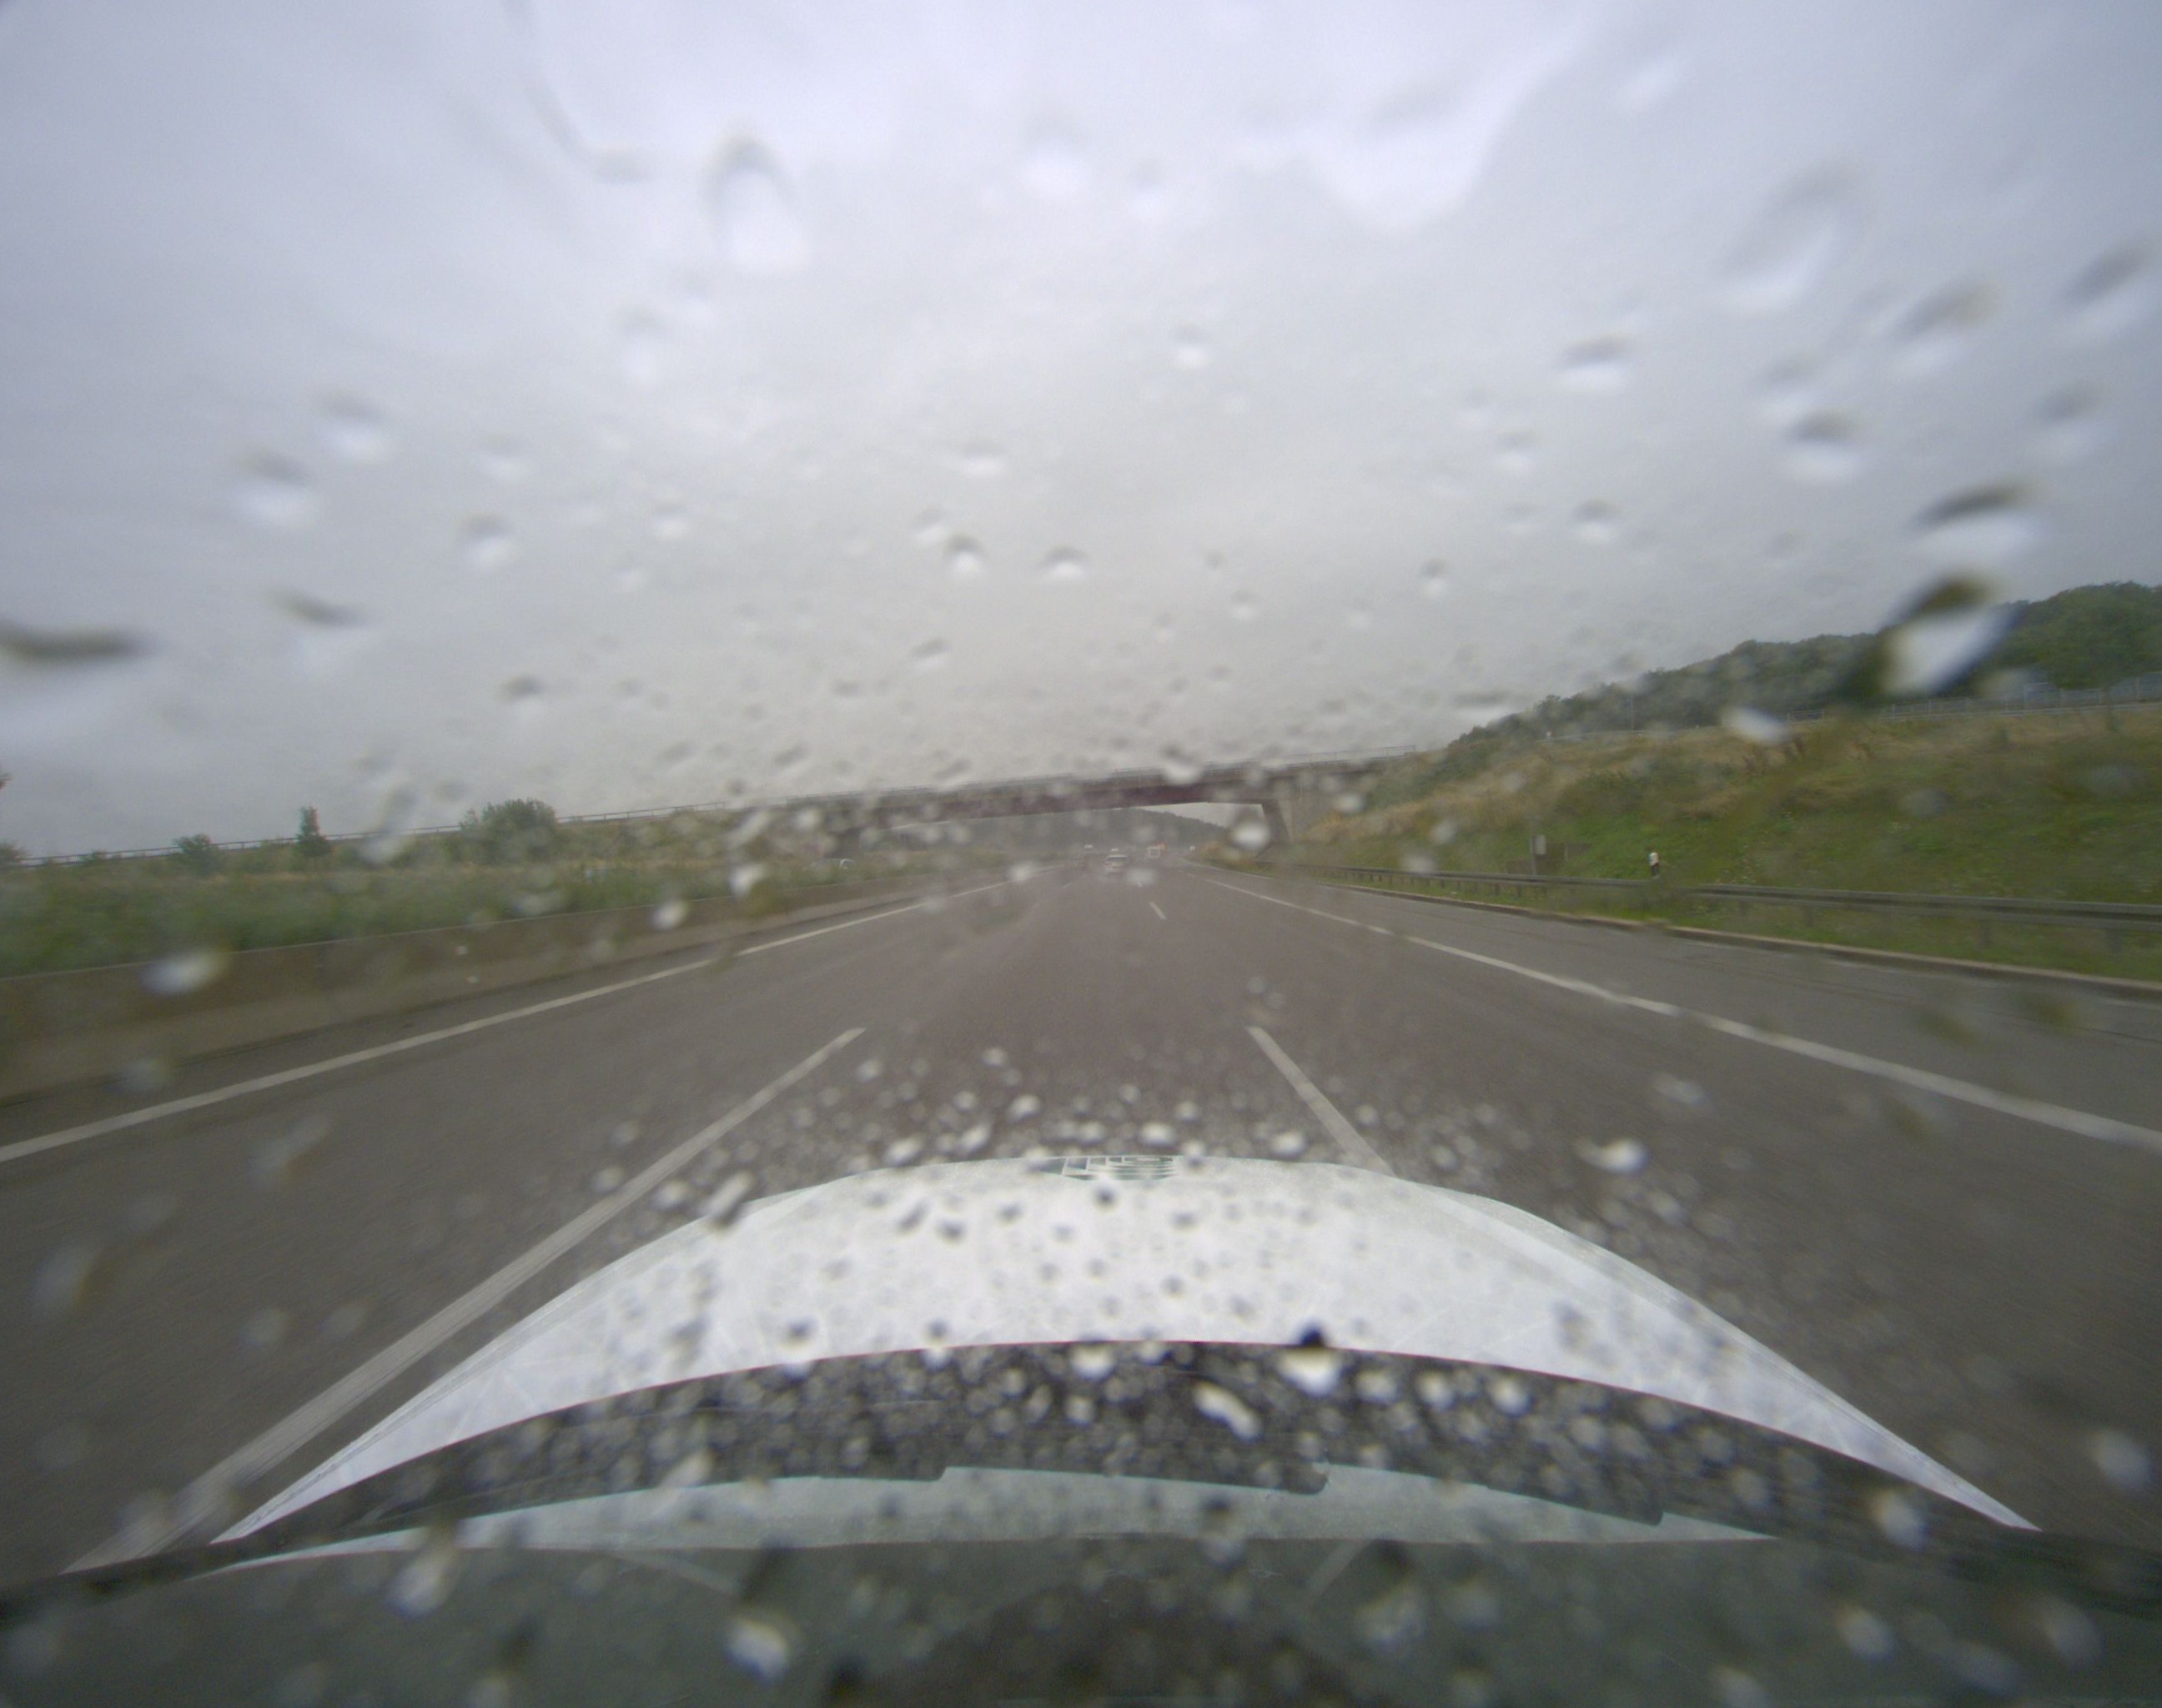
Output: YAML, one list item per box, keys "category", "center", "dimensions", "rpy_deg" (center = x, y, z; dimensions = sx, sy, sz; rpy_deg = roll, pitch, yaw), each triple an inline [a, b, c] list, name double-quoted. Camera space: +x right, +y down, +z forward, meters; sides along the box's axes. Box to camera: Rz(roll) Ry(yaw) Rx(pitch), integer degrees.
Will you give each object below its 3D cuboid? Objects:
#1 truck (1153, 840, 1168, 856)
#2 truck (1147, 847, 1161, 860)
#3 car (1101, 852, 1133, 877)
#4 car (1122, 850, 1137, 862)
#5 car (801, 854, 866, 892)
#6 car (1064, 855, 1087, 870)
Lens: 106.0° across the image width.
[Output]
- category: "truck"
  center: [19.451, -1.609, 199.874]
  dimensions: [3.511, 3.742, 11.440]
  rpy_deg: [-1, 1, 4]
- category: "truck"
  center: [13.342, -0.092, 149.113]
  dimensions: [2.395, 2.252, 4.702]
  rpy_deg: [-1, 0, 7]
- category: "car"
  center: [2.220, 0.638, 50.802]
  dimensions: [1.861, 1.463, 4.001]
  rpy_deg: [-1, -1, 1]
- category: "car"
  center: [6.993, 0.322, 117.410]
  dimensions: [1.984, 1.618, 4.005]
  rpy_deg: [-1, 0, 5]
- category: "car"
  center: [-11.146, 0.843, 36.962]
  dimensions: [1.574, 1.618, 3.939]
  rpy_deg: [0, -1, 2]
- category: "car"
  center: [-0.454, 0.718, 68.550]
  dimensions: [1.817, 1.156, 4.213]
  rpy_deg: [0, -1, 1]
